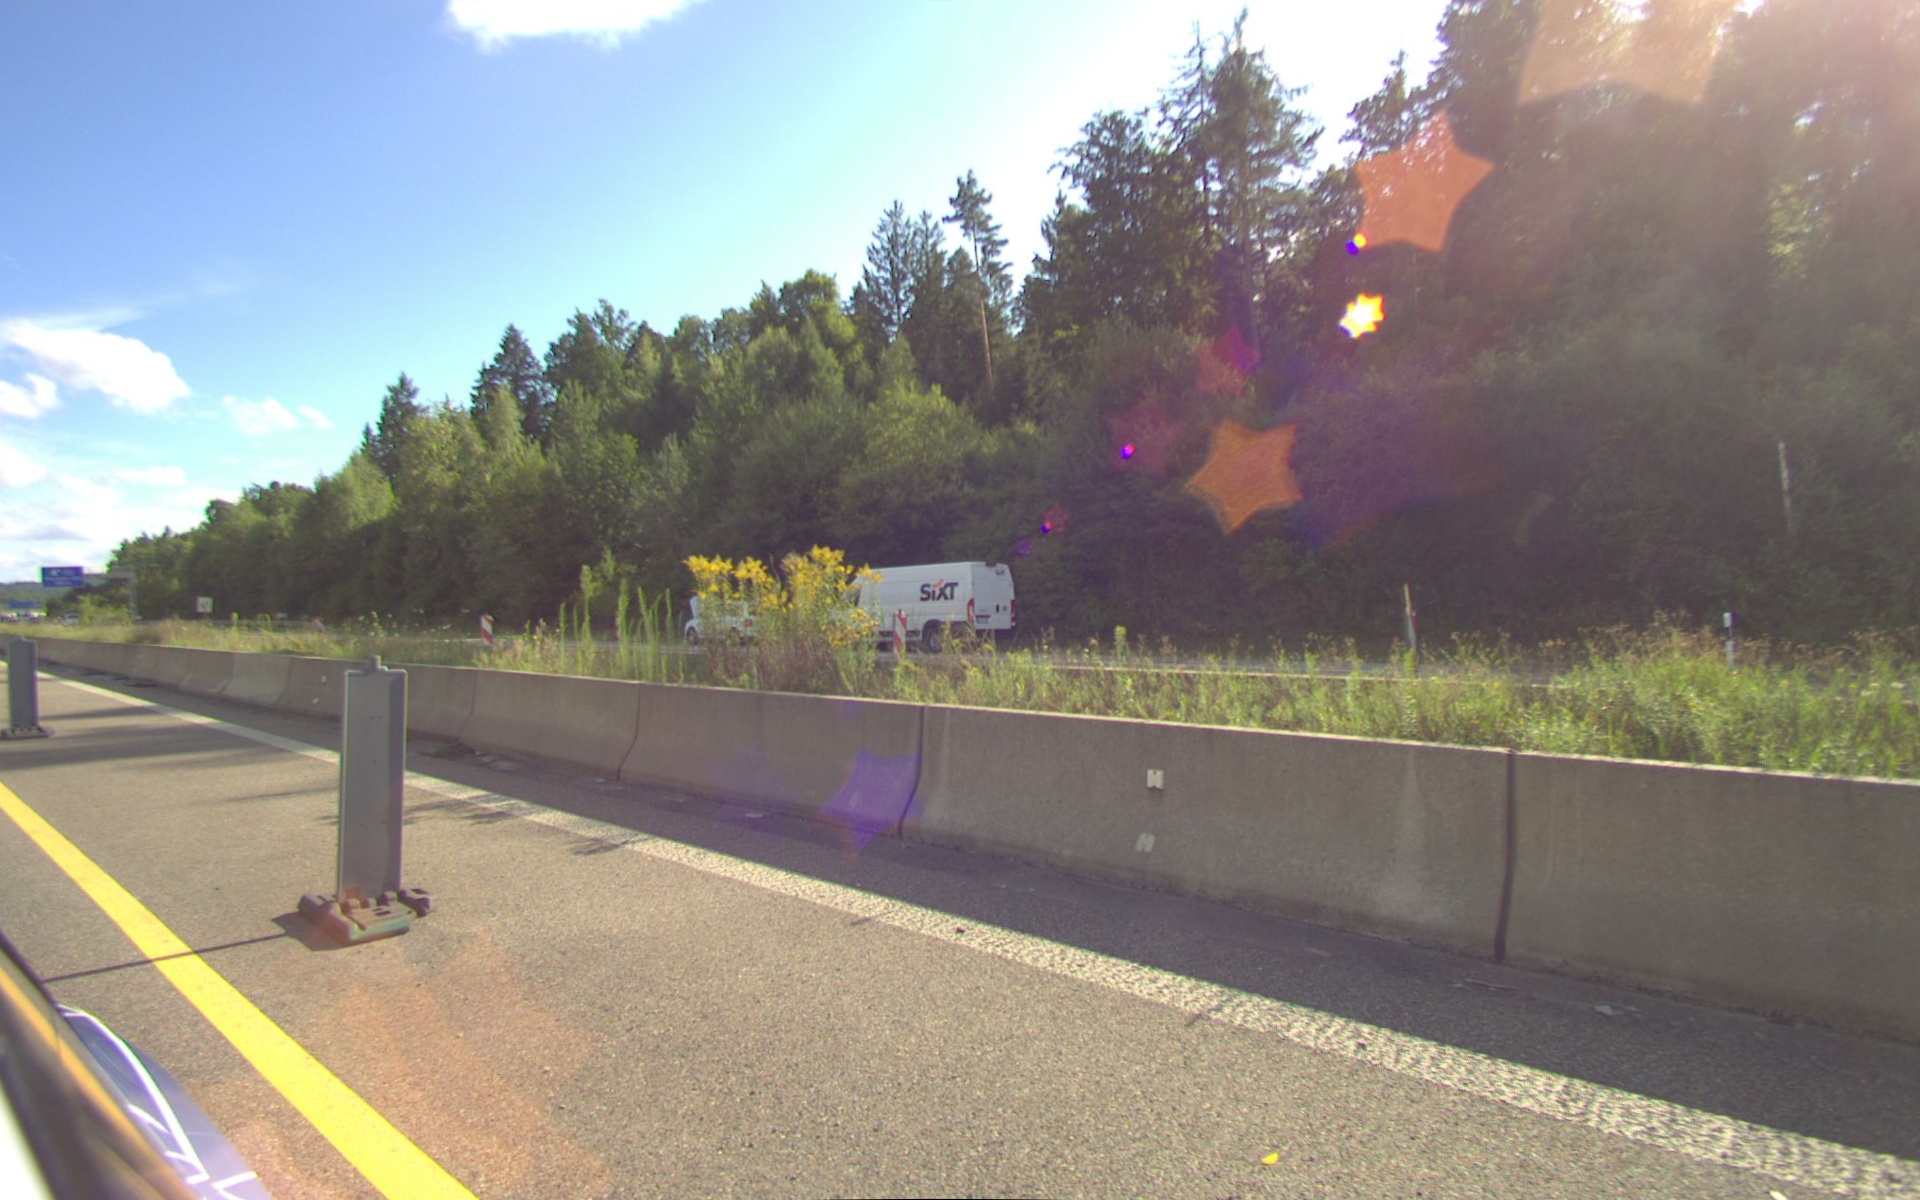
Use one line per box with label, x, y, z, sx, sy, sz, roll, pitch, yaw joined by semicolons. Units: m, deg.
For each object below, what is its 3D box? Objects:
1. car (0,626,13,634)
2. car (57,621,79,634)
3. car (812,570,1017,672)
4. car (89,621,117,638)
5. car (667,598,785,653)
car;-178.660;5.619;189.396;4.104;1.467;1.759;-1;0;42
car;-123.501;3.801;140.082;4.364;1.799;1.759;-1;0;42
car;-1.483;0.585;29.852;6.521;2.705;2.006;-1;0;42
car;-95.117;3.249;112.295;4.364;1.799;1.759;-1;0;42
car;-8.649;0.906;37.156;4.761;1.867;1.841;-1;0;42
